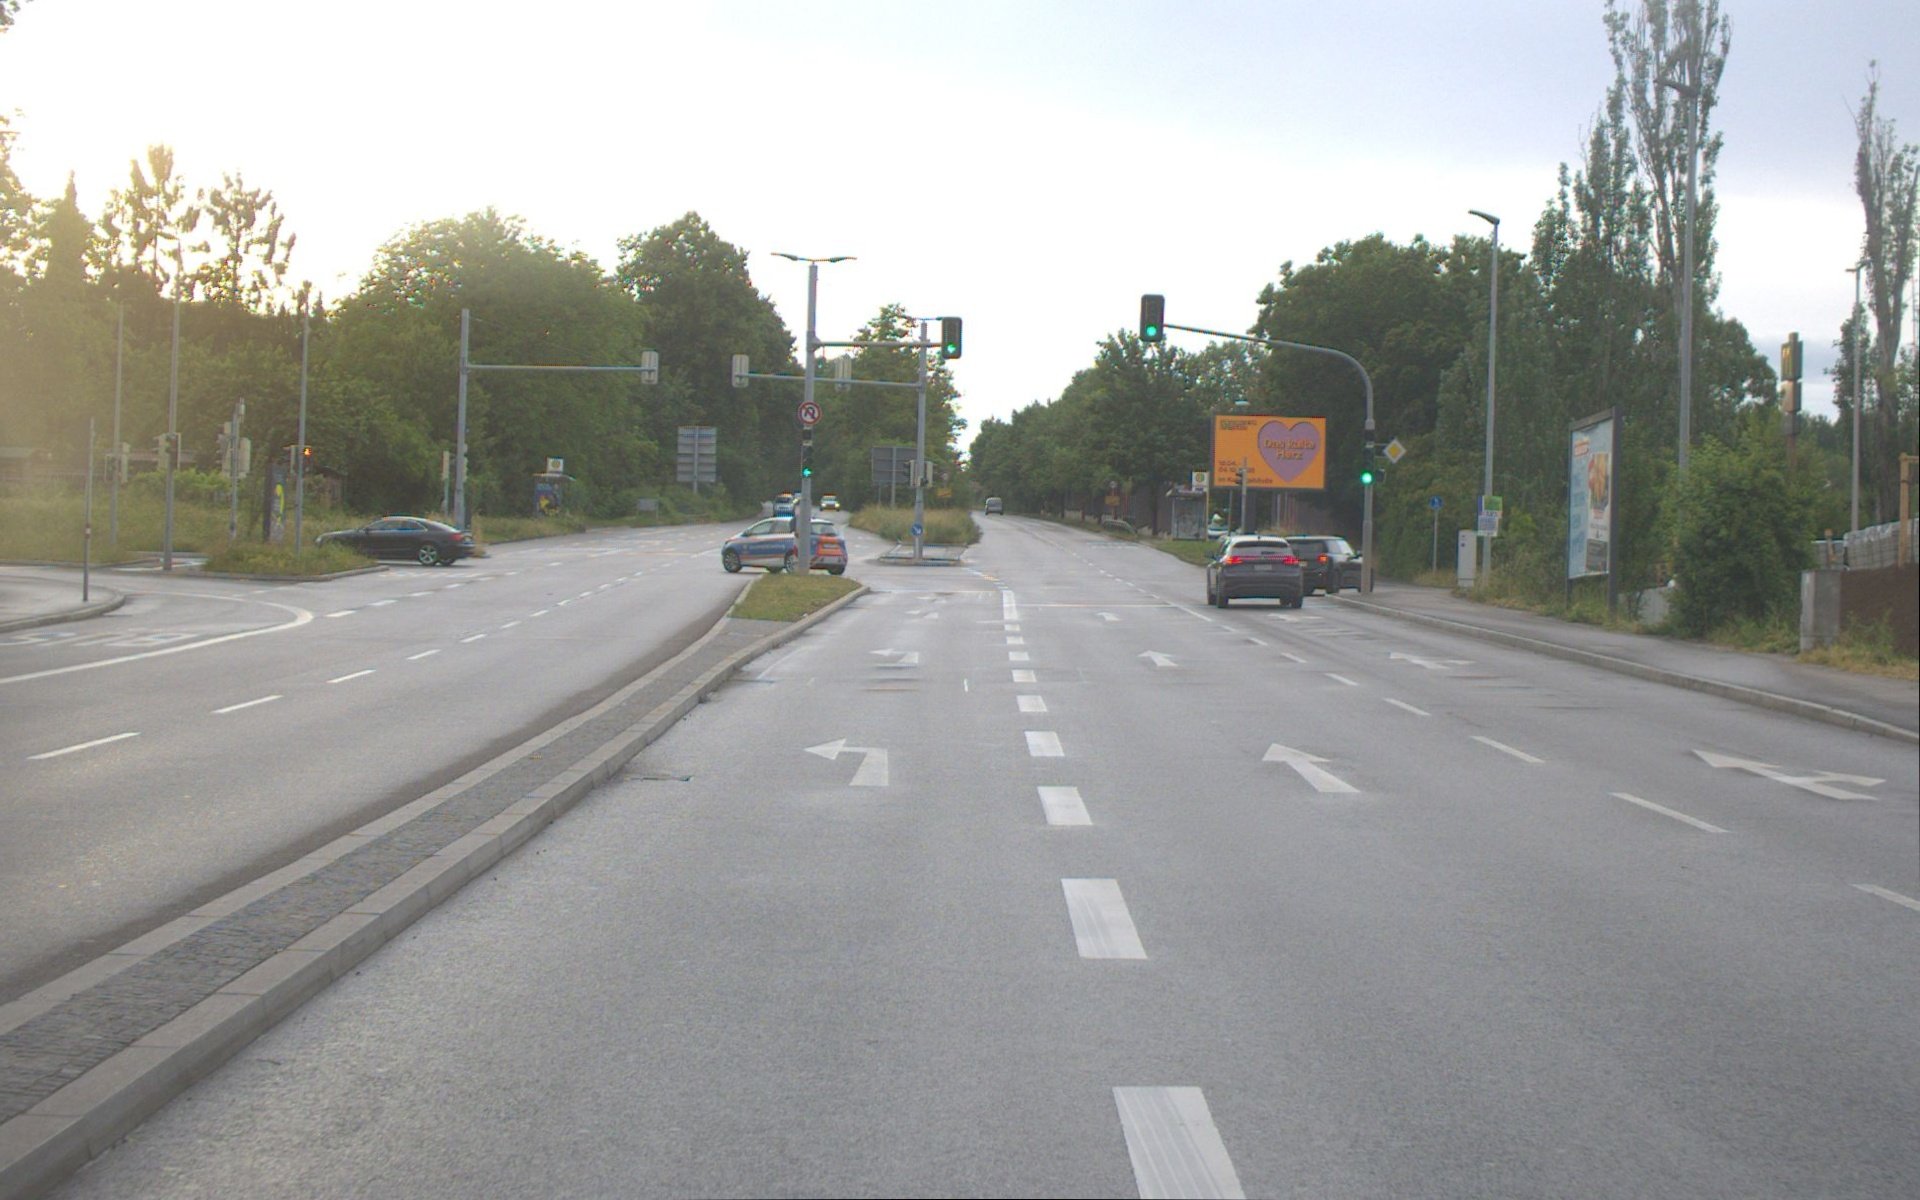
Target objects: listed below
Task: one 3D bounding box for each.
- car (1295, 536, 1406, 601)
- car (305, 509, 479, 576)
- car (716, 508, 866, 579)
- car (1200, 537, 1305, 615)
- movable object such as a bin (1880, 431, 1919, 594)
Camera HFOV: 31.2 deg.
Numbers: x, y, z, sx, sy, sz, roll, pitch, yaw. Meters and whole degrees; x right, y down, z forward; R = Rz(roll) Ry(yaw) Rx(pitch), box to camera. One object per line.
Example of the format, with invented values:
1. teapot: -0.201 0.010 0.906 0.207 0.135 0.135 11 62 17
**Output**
1. car: 9.453 -0.764 82.974 1.746 1.465 4.162 3 2 19
2. car: -16.172 -1.621 98.030 4.648 1.577 2.173 4 0 -5
3. car: -4.599 -1.545 93.033 2.076 1.712 4.198 4 0 -34
4. car: 6.001 -0.513 70.991 1.745 1.465 4.166 2 1 0
5. movable object such as a bin: 20.432 -1.691 68.006 2.301 3.265 5.426 2 2 -7
